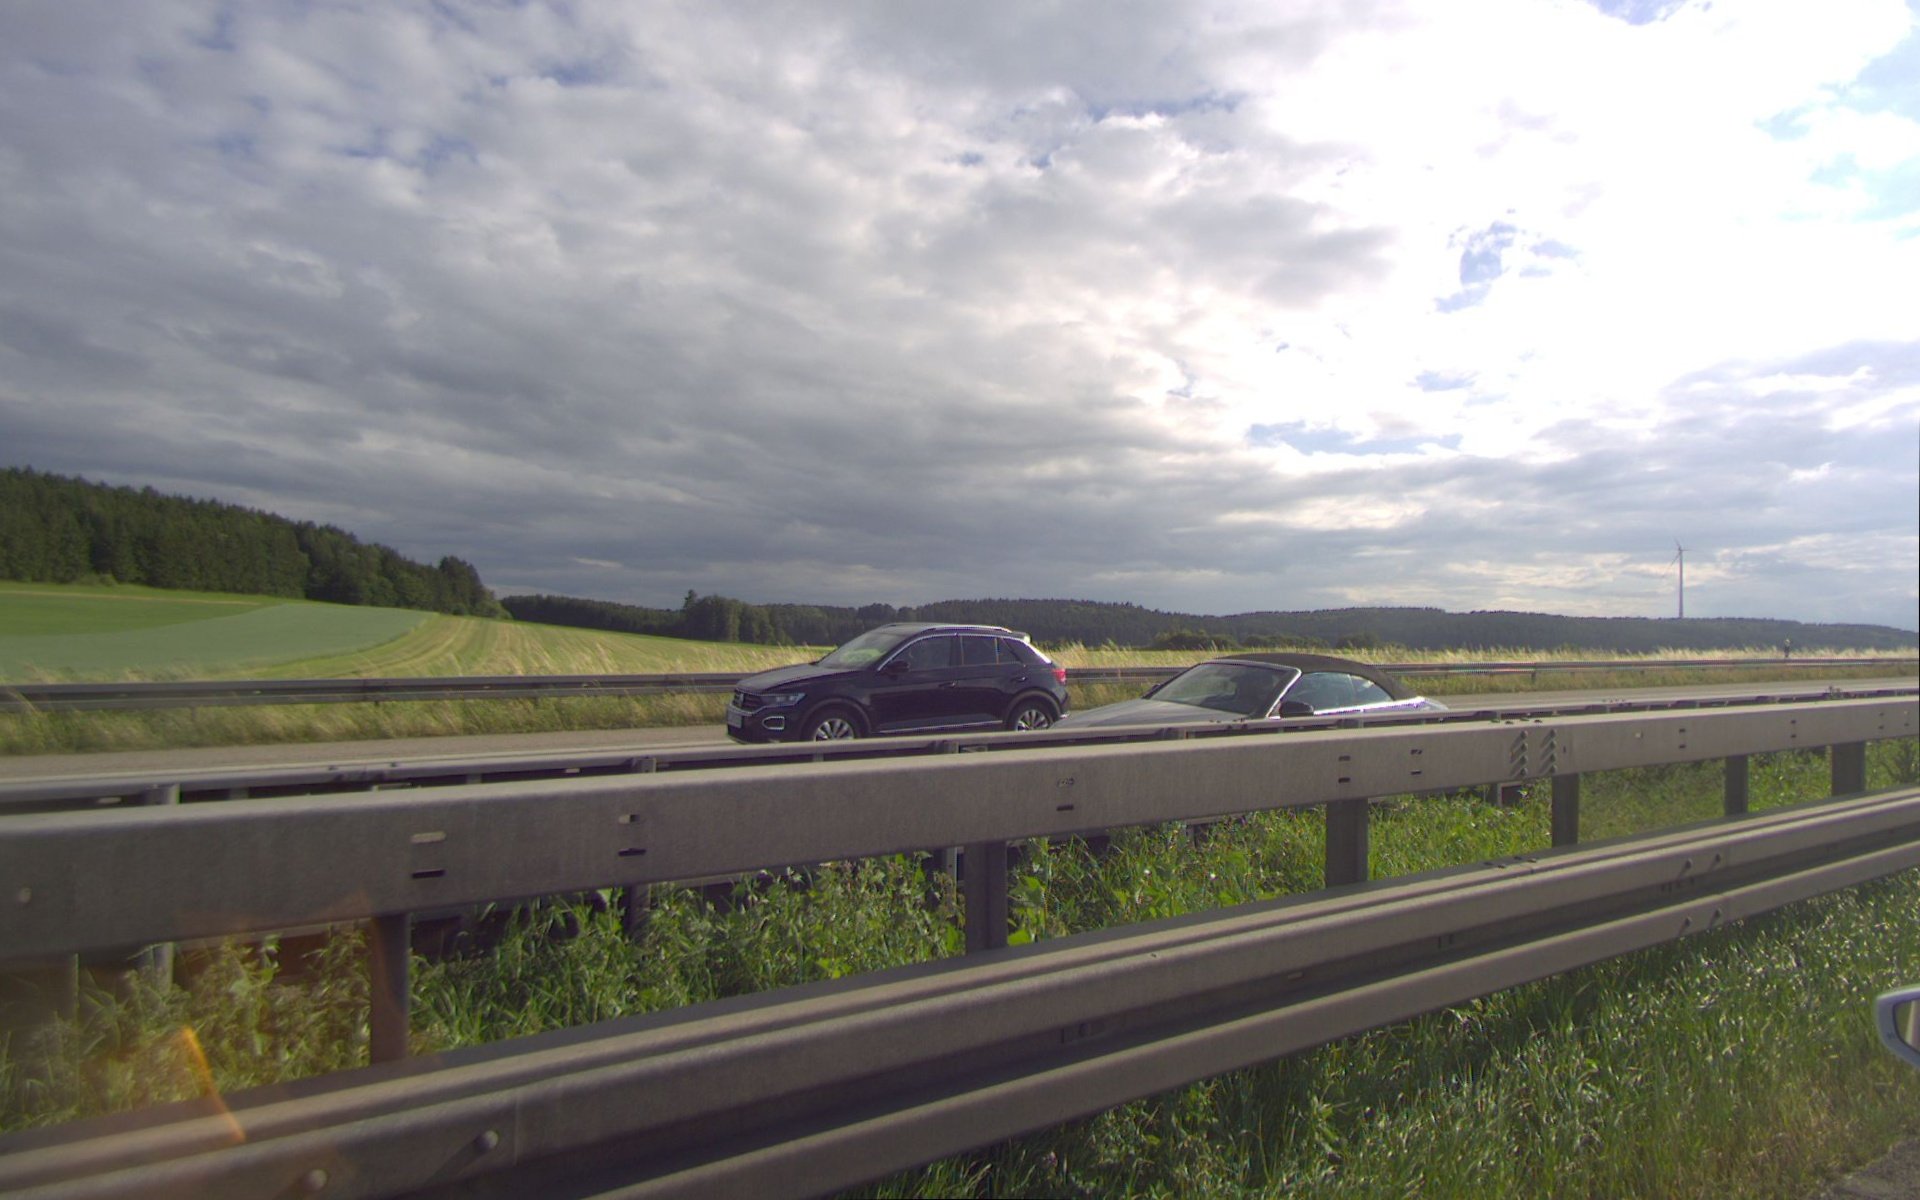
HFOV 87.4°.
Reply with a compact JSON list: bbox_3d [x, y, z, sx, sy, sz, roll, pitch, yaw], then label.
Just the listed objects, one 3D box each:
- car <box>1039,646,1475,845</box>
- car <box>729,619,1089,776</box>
[{"bbox_3d":[2.814,1.188,9.252,3.955,1.410,1.607,2,0,-32],"label":"car"},{"bbox_3d":[-0.545,1.067,11.890,3.955,1.541,1.607,2,0,-32],"label":"car"}]
